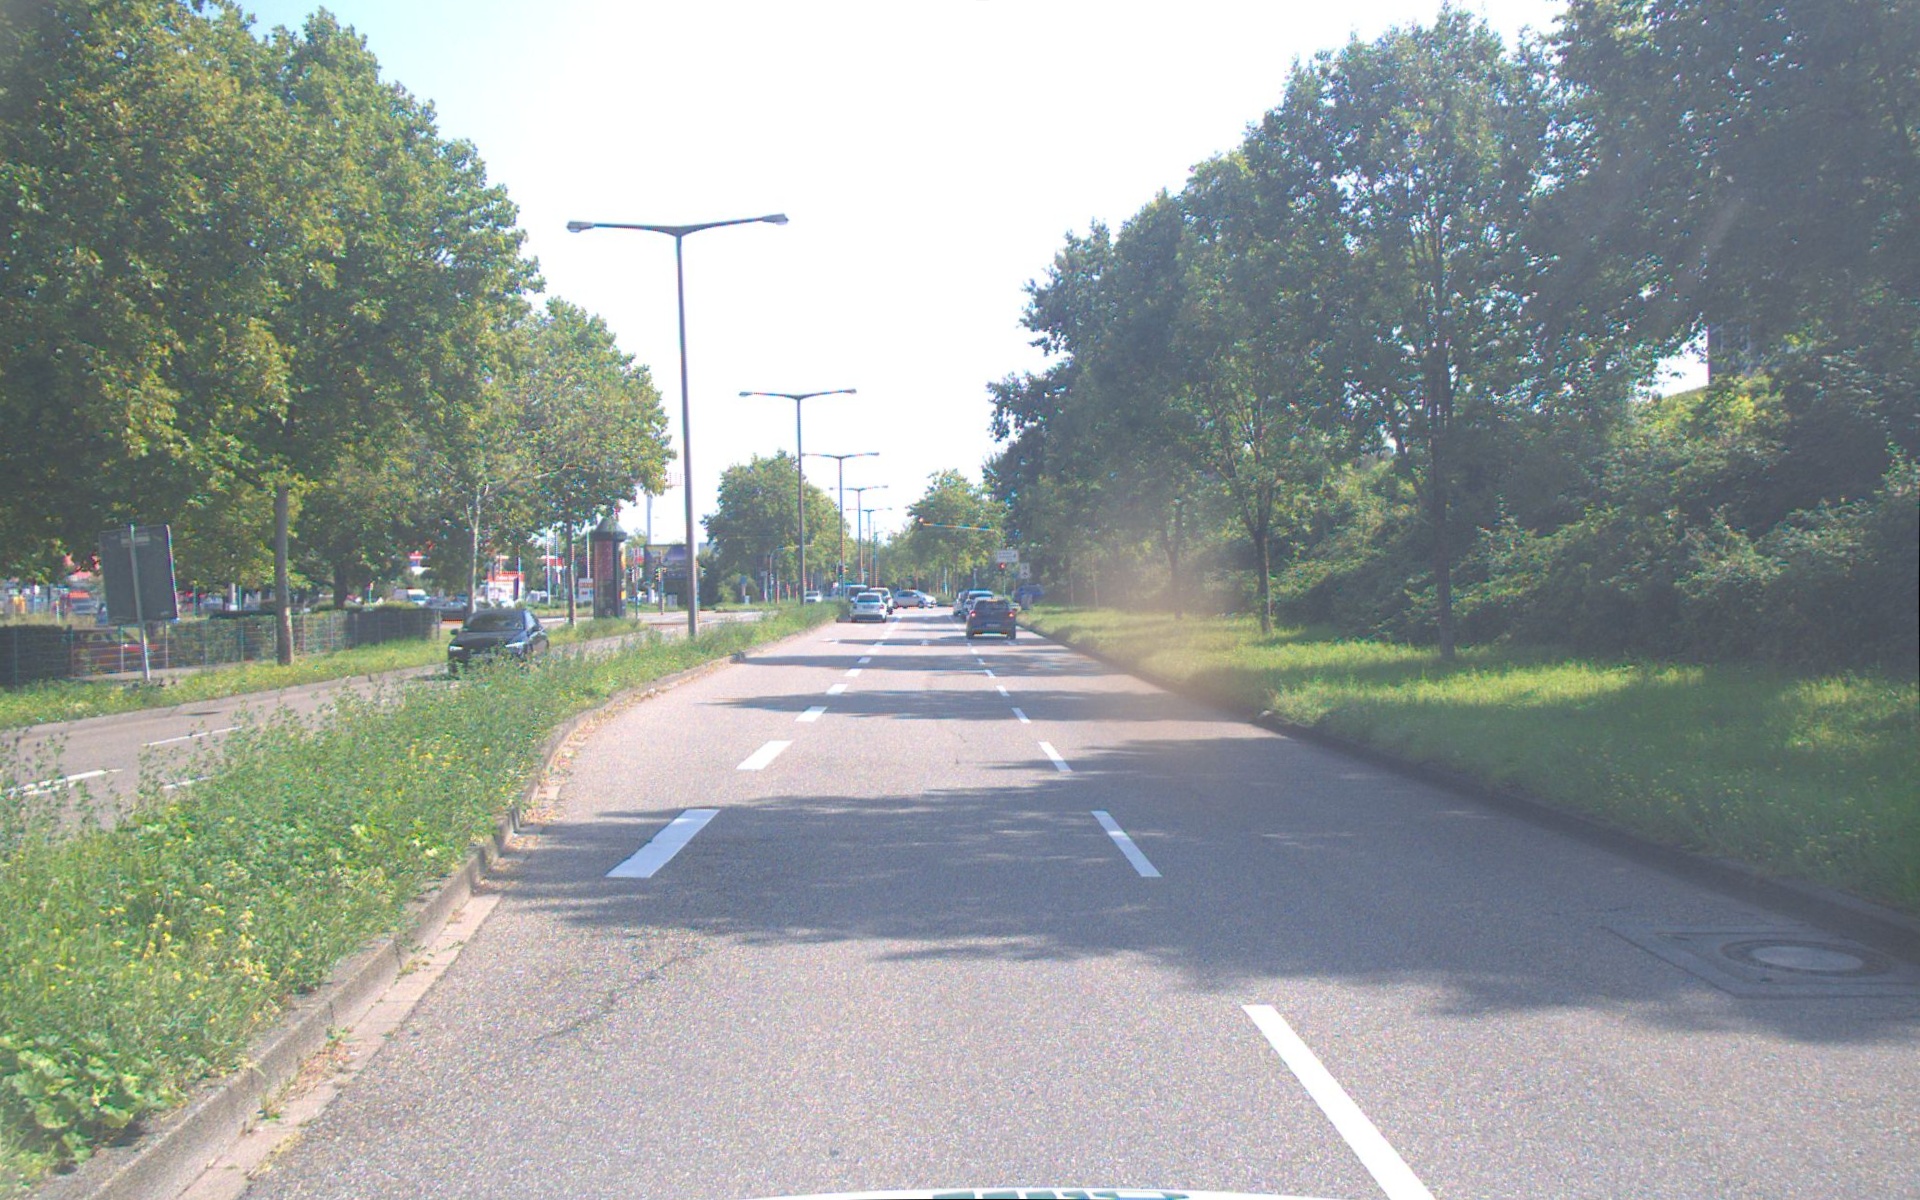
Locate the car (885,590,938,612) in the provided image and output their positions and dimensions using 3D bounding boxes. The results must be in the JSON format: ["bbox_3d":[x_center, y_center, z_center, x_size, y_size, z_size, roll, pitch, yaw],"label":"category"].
[{"bbox_3d":[-3.890,0.068,132.814,3.902,1.659,1.701,-2,0,15],"label":"car"}]

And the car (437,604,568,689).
[{"bbox_3d":[-10.258,1.002,37.395,1.953,1.588,4.000,1,3,-2],"label":"car"}]

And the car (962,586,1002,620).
[{"bbox_3d":[1.160,0.153,88.325,1.953,1.683,3.999,-2,0,-2],"label":"car"}]

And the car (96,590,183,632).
[{"bbox_3d":[-43.416,0.546,87.514,3.949,2.048,1.979,-1,3,-32],"label":"car"}]

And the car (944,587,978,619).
[{"bbox_3d":[0.049,0.179,101.271,1.953,1.682,4.001,0,4,-2],"label":"car"}]

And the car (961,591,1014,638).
[{"bbox_3d":[0.956,0.483,59.409,1.744,1.452,4.000,1,3,-1],"label":"car"}]

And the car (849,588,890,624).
[{"bbox_3d":[-4.530,0.301,82.468,1.954,1.731,3.997,-2,0,-4],"label":"car"}]

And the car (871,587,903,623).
[{"bbox_3d":[-4.649,0.293,105.705,1.953,2.048,4.000,1,3,-2],"label":"car"}]

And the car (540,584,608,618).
[{"bbox_3d":[-25.681,0.033,110.155,3.965,2.048,1.970,-2,3,-42],"label":"car"}]
